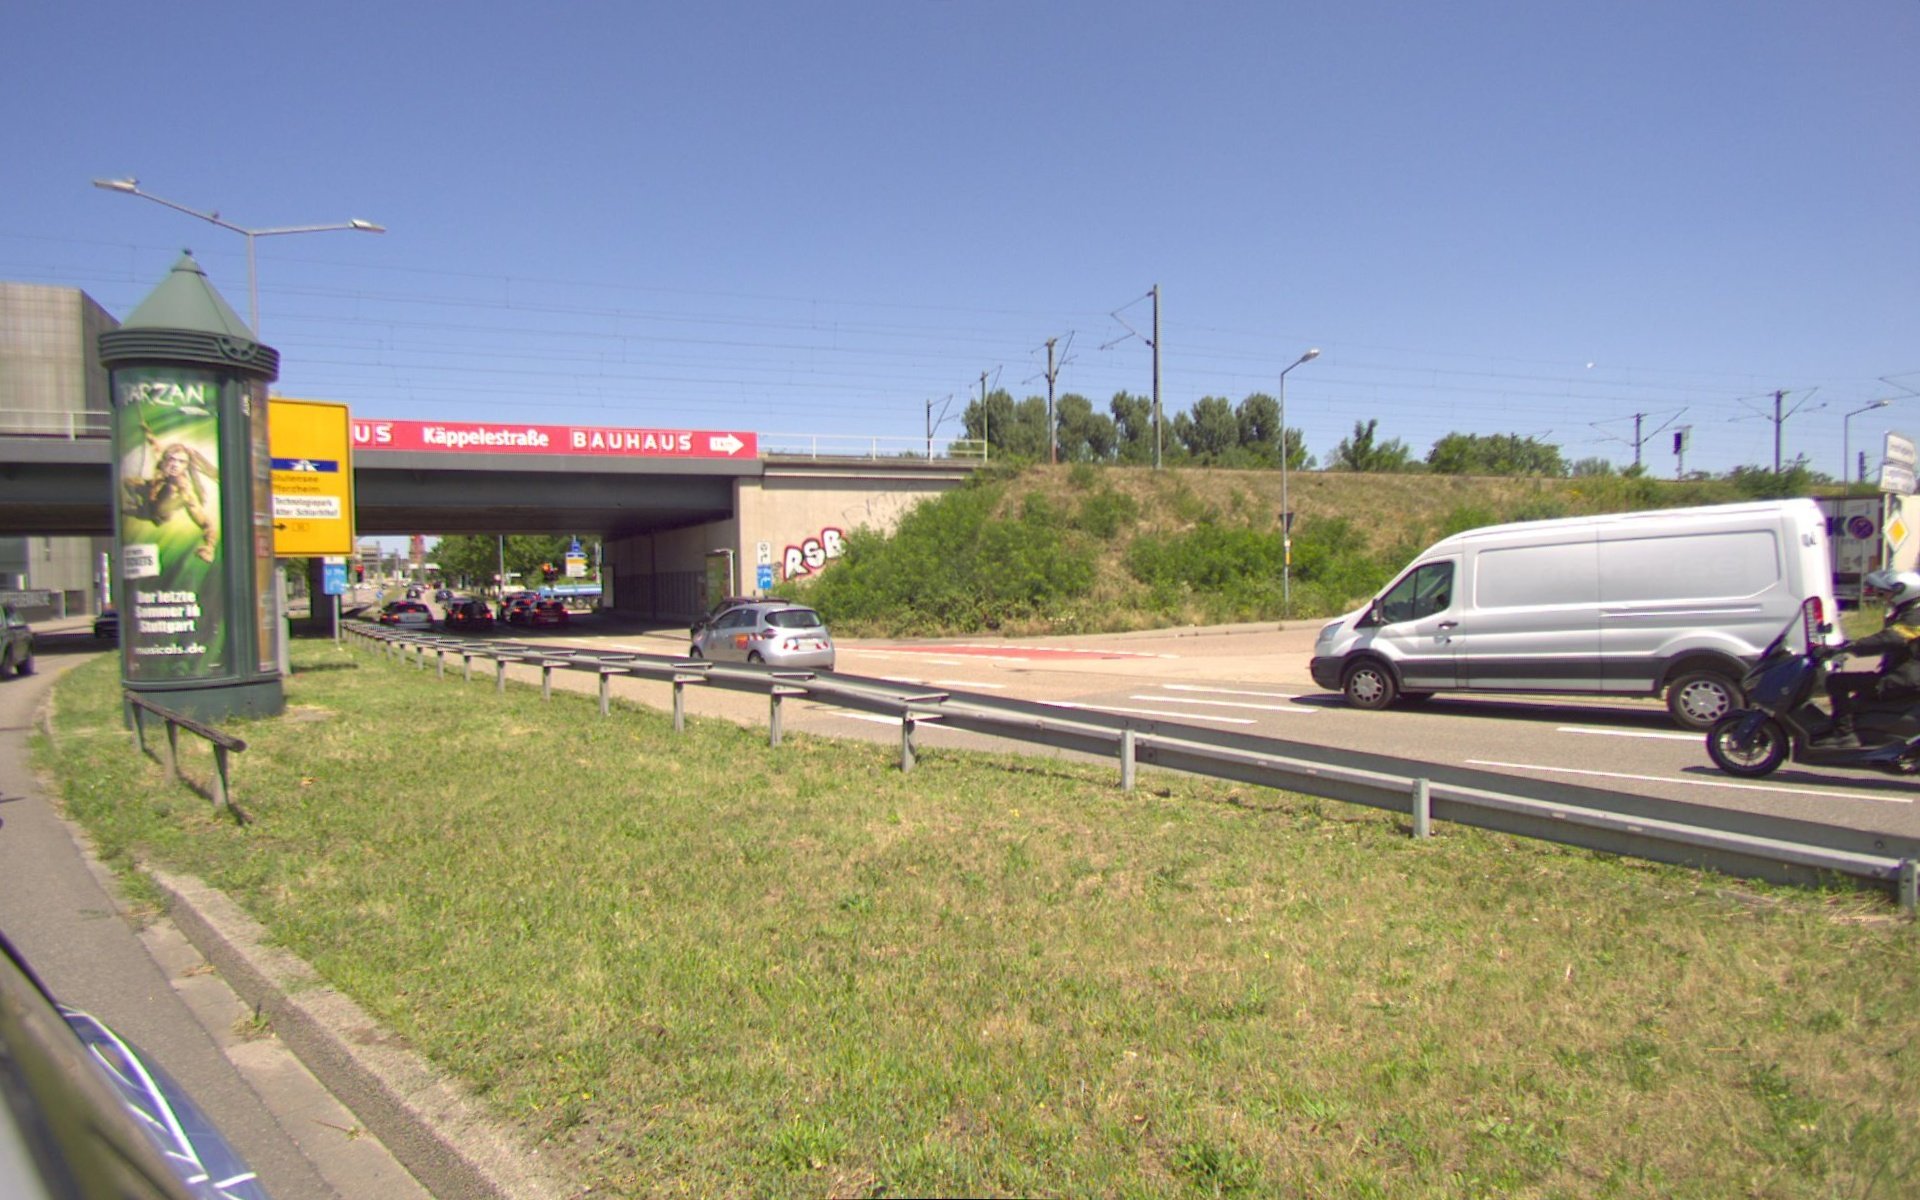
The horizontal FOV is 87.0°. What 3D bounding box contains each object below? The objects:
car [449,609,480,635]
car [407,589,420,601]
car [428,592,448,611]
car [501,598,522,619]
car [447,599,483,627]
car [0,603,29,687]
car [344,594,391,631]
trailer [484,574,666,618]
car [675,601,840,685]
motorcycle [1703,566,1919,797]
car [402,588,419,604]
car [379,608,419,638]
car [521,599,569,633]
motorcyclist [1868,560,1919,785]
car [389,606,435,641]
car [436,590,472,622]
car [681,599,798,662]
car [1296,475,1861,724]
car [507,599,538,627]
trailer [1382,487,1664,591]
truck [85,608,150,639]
[{"bbox_3d":[-24.845,1.082,50.817,1.250,1.194,2.787,-1,0,-23],"label":"car"},{"bbox_3d":[-96.706,-0.818,179.118,1.966,2.029,4.013,-1,0,-29],"label":"car"},{"bbox_3d":[-58.829,0.151,114.085,1.809,2.029,4.012,-1,0,-30],"label":"car"},{"bbox_3d":[-27.709,0.511,62.561,1.166,1.257,2.701,-1,0,-23],"label":"car"},{"bbox_3d":[-27.371,0.701,56.024,1.592,1.487,3.444,-1,0,-23],"label":"car"},{"bbox_3d":[-21.417,0.944,21.633,1.817,1.708,3.708,-1,0,-36],"label":"car"},{"bbox_3d":[-31.583,0.651,54.044,1.875,1.874,4.013,-1,0,-27],"label":"car"},{"bbox_3d":[-31.386,-0.360,82.989,13.653,3.398,2.975,-1,0,-22],"label":"trailer"},{"bbox_3d":[-4.300,0.857,21.096,1.614,1.579,4.079,0,-1,-40],"label":"car"},{"bbox_3d":[7.143,0.591,7.644,2.424,1.691,0.591,-1,0,41],"label":"motorcycle"},{"bbox_3d":[-70.947,-0.490,130.683,1.809,2.029,4.012,-1,0,-30],"label":"car"},{"bbox_3d":[-26.764,1.064,48.354,1.388,1.329,3.272,-1,0,-24],"label":"car"},{"bbox_3d":[-21.252,0.785,51.736,1.747,1.680,4.027,-1,0,-29],"label":"car"},{"bbox_3d":[7.214,0.524,7.585,0.562,1.638,0.581,-1,0,39],"label":"motorcyclist"},{"bbox_3d":[-23.372,0.994,43.088,1.611,1.413,4.234,1,-1,-30],"label":"car"},{"bbox_3d":[-30.774,0.349,61.579,1.875,1.874,4.013,-1,0,-27],"label":"car"},{"bbox_3d":[-6.407,0.818,29.042,1.469,1.645,4.482,-1,0,-38],"label":"car"},{"bbox_3d":[7.580,0.111,12.988,5.810,2.519,2.071,-3,-2,43],"label":"car"},{"bbox_3d":[-24.524,0.699,56.761,1.548,1.514,3.418,-1,0,-23],"label":"car"},{"bbox_3d":[24.553,-2.610,44.001,12.486,4.081,3.031,-1,-1,-19],"label":"trailer"},{"bbox_3d":[-45.459,1.239,54.703,1.702,1.513,4.013,-1,0,-25],"label":"truck"}]
